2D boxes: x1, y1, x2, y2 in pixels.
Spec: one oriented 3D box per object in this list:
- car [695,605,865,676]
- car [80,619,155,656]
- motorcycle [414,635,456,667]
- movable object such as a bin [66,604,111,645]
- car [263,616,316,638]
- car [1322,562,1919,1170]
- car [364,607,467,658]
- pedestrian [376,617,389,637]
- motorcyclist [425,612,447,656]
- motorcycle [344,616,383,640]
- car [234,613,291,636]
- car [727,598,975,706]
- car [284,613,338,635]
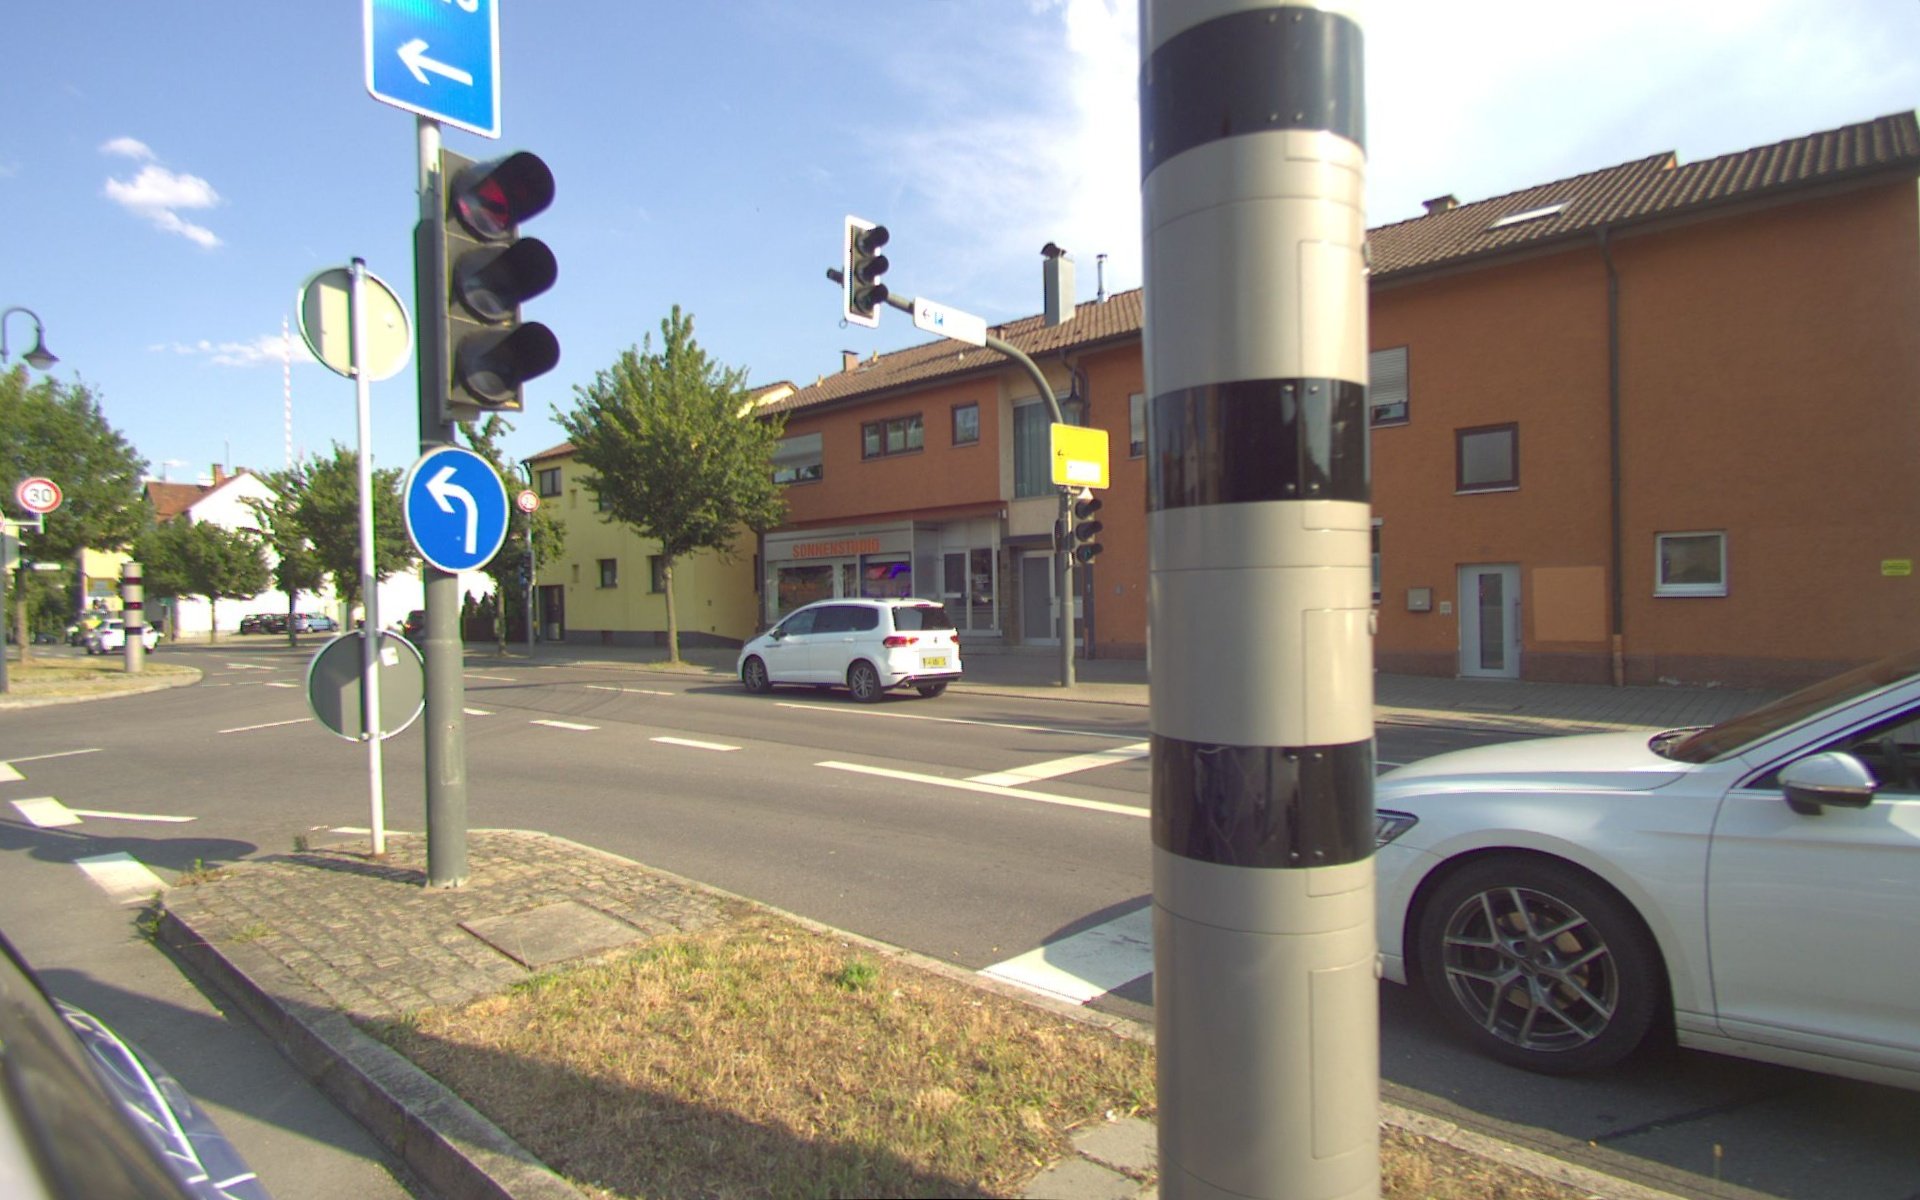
[{"bbox_3d":[-4.221,0.891,23.457,3.938,1.424,1.777,-1,2,41],"label":"car"},{"bbox_3d":[-34.598,1.531,41.520,3.998,1.422,1.739,-2,-1,41],"label":"car"},{"bbox_3d":[-14.759,1.424,28.427,1.762,0.867,0.408,-2,-1,40],"label":"motorcycle"},{"bbox_3d":[-54.563,1.550,63.333,4.977,2.480,1.536,-1,-2,43],"label":"movable object such as a bin"},{"bbox_3d":[-48.840,1.962,73.792,1.566,1.576,3.429,-1,-1,2],"label":"car"},{"bbox_3d":[3.562,0.639,2.669,4.563,1.500,1.816,-2,-1,40],"label":"car"},{"bbox_3d":[-18.697,1.100,34.672,4.460,1.607,1.834,-2,-1,44],"label":"car"},{"bbox_3d":[-39.677,1.850,69.537,0.583,1.350,0.589,-2,-1,33],"label":"pedestrian"},{"bbox_3d":[-14.710,0.947,28.396,0.461,1.238,0.399,-2,-1,40],"label":"motorcyclist"},{"bbox_3d":[-34.242,1.619,58.084,2.096,1.332,0.487,-2,-1,10],"label":"motorcycle"},{"bbox_3d":[-51.089,1.816,74.215,1.836,1.638,3.410,0,-2,-1],"label":"car"},{"bbox_3d":[-1.963,0.818,17.298,4.411,1.624,1.668,-1,-1,41],"label":"car"},{"bbox_3d":[-46.417,1.720,72.398,1.599,1.555,3.429,-1,-1,2],"label":"car"}]
